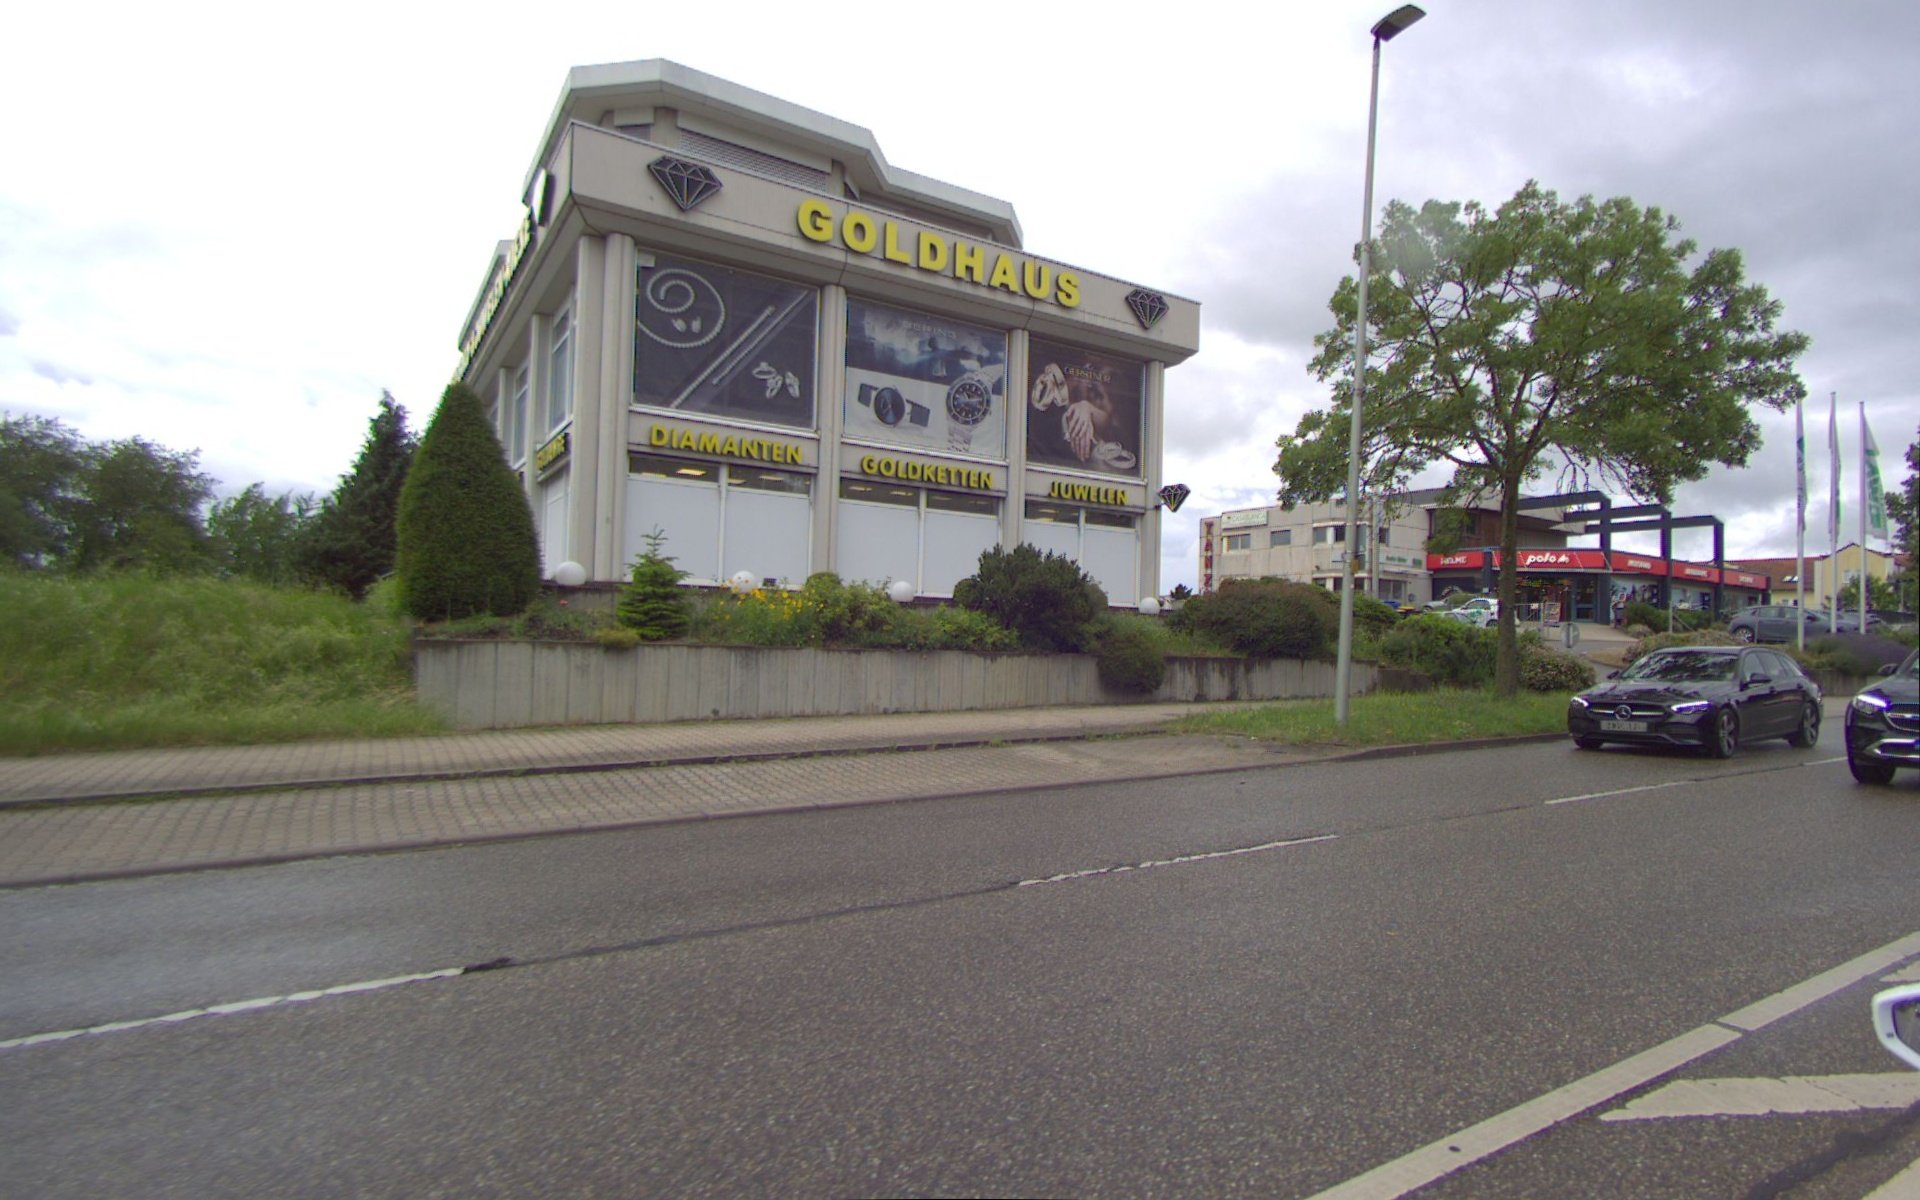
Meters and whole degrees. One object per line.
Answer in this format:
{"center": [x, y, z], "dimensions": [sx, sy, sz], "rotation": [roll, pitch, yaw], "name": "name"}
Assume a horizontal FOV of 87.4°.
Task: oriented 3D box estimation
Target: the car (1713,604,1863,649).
{"center": [29.149, 0.941, 35.453], "dimensions": [1.726, 1.502, 3.799], "rotation": [2, -2, -37], "name": "car"}

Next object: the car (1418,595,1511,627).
{"center": [25.734, 0.589, 51.341], "dimensions": [1.851, 1.532, 3.975], "rotation": [2, -2, -27], "name": "car"}

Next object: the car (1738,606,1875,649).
{"center": [31.241, 1.004, 37.143], "dimensions": [1.726, 1.502, 3.621], "rotation": [2, -2, -37], "name": "car"}

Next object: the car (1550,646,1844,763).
{"center": [10.391, 1.360, 14.108], "dimensions": [4.250, 1.420, 1.785], "rotation": [1, -3, -30], "name": "car"}

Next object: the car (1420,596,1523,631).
{"center": [23.385, 0.639, 46.029], "dimensions": [1.856, 1.502, 3.801], "rotation": [2, -2, -35], "name": "car"}

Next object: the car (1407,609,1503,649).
{"center": [20.352, 1.230, 41.256], "dimensions": [3.956, 1.532, 1.666], "rotation": [2, -3, -31], "name": "car"}

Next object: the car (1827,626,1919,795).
{"center": [11.180, 1.119, 10.618], "dimensions": [4.235, 1.628, 1.814], "rotation": [2, -3, -31], "name": "car"}
